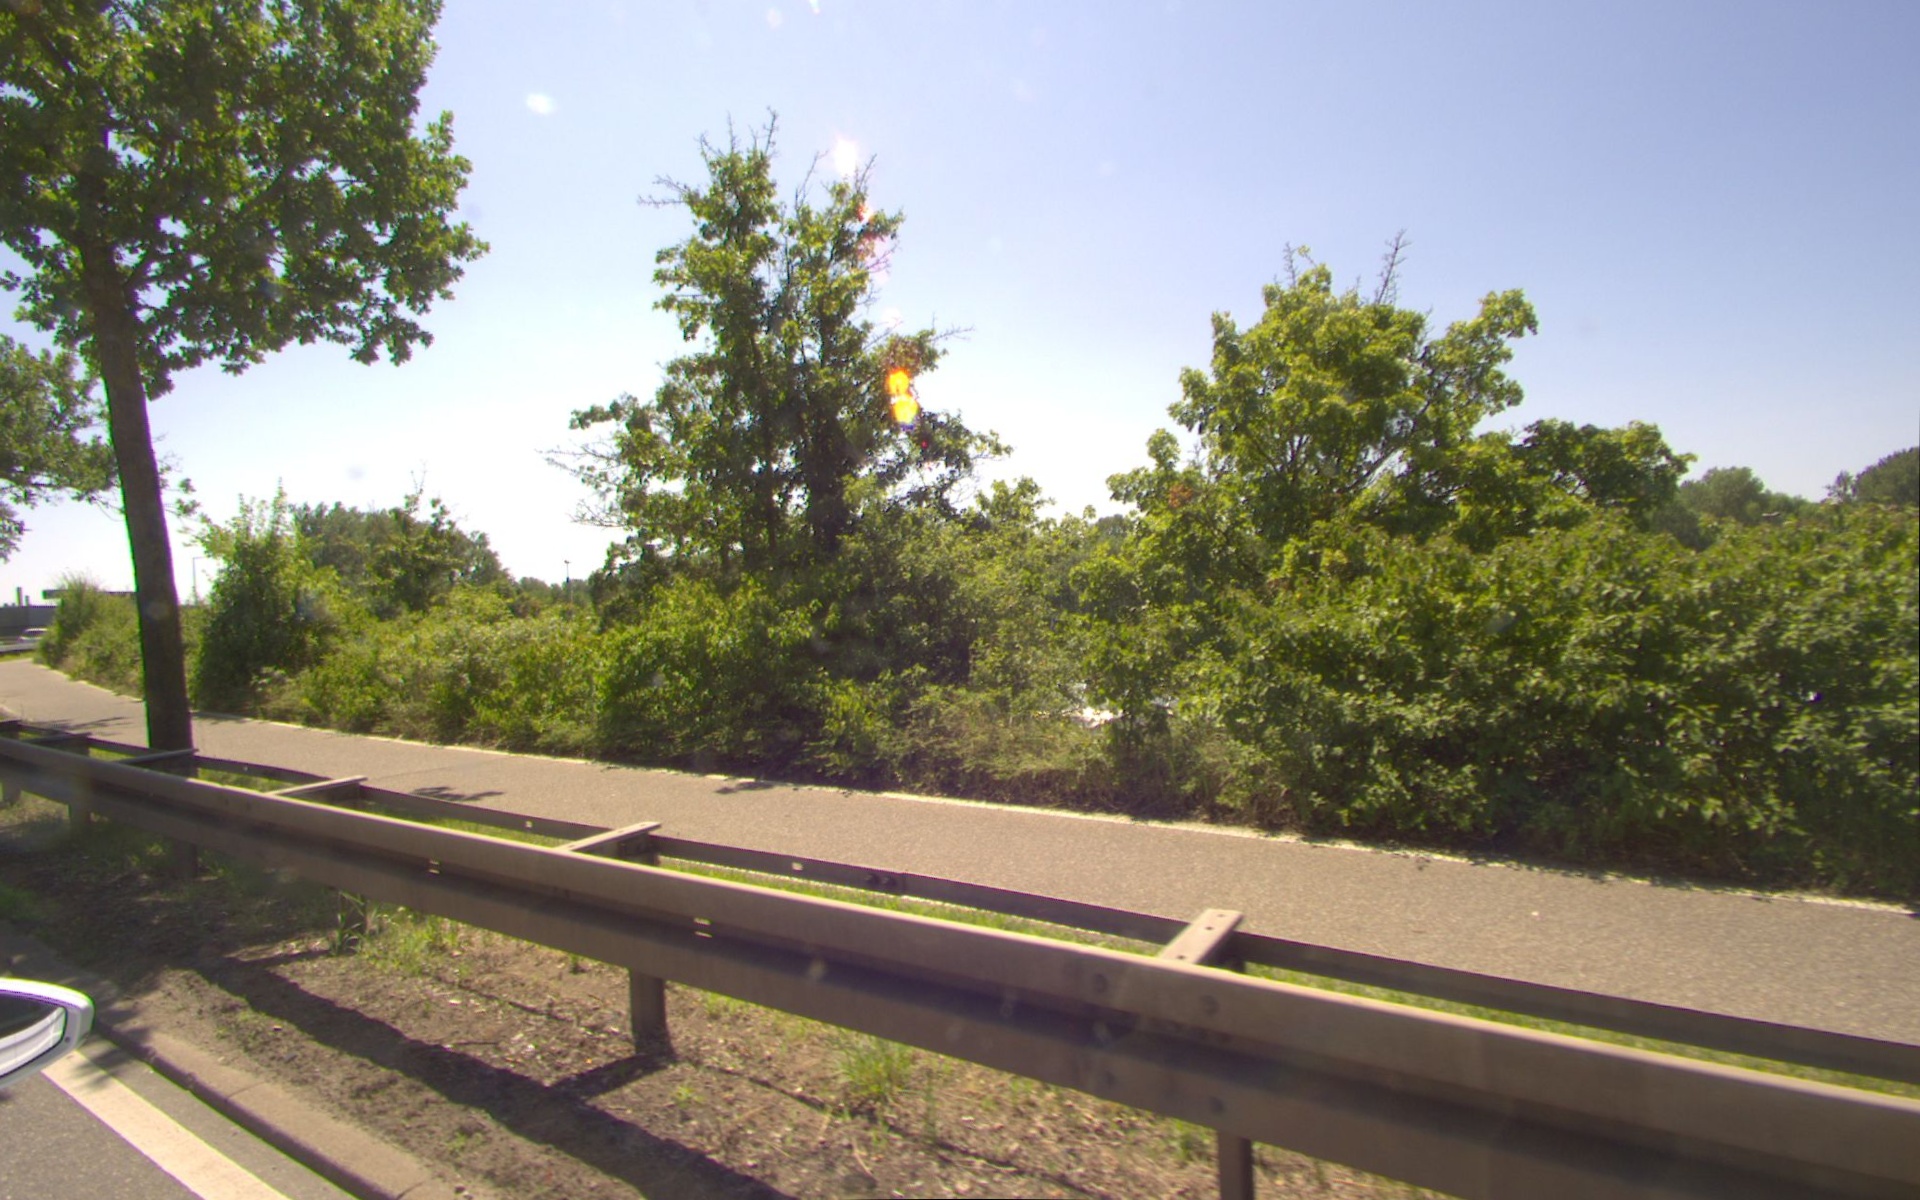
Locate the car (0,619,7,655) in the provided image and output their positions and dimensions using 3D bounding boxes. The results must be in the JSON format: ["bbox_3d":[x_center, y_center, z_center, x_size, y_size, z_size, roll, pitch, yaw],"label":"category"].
[{"bbox_3d":[-48.044,1.806,48.603,1.975,1.739,4.835,1,-2,-36],"label":"car"}]

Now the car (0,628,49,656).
[{"bbox_3d":[-63.662,2.840,68.198,1.728,1.786,4.410,0,-2,-33],"label":"car"}]

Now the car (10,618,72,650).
[{"bbox_3d":[-53.733,1.978,58.643,1.974,1.790,4.725,1,-2,-34],"label":"car"}]
